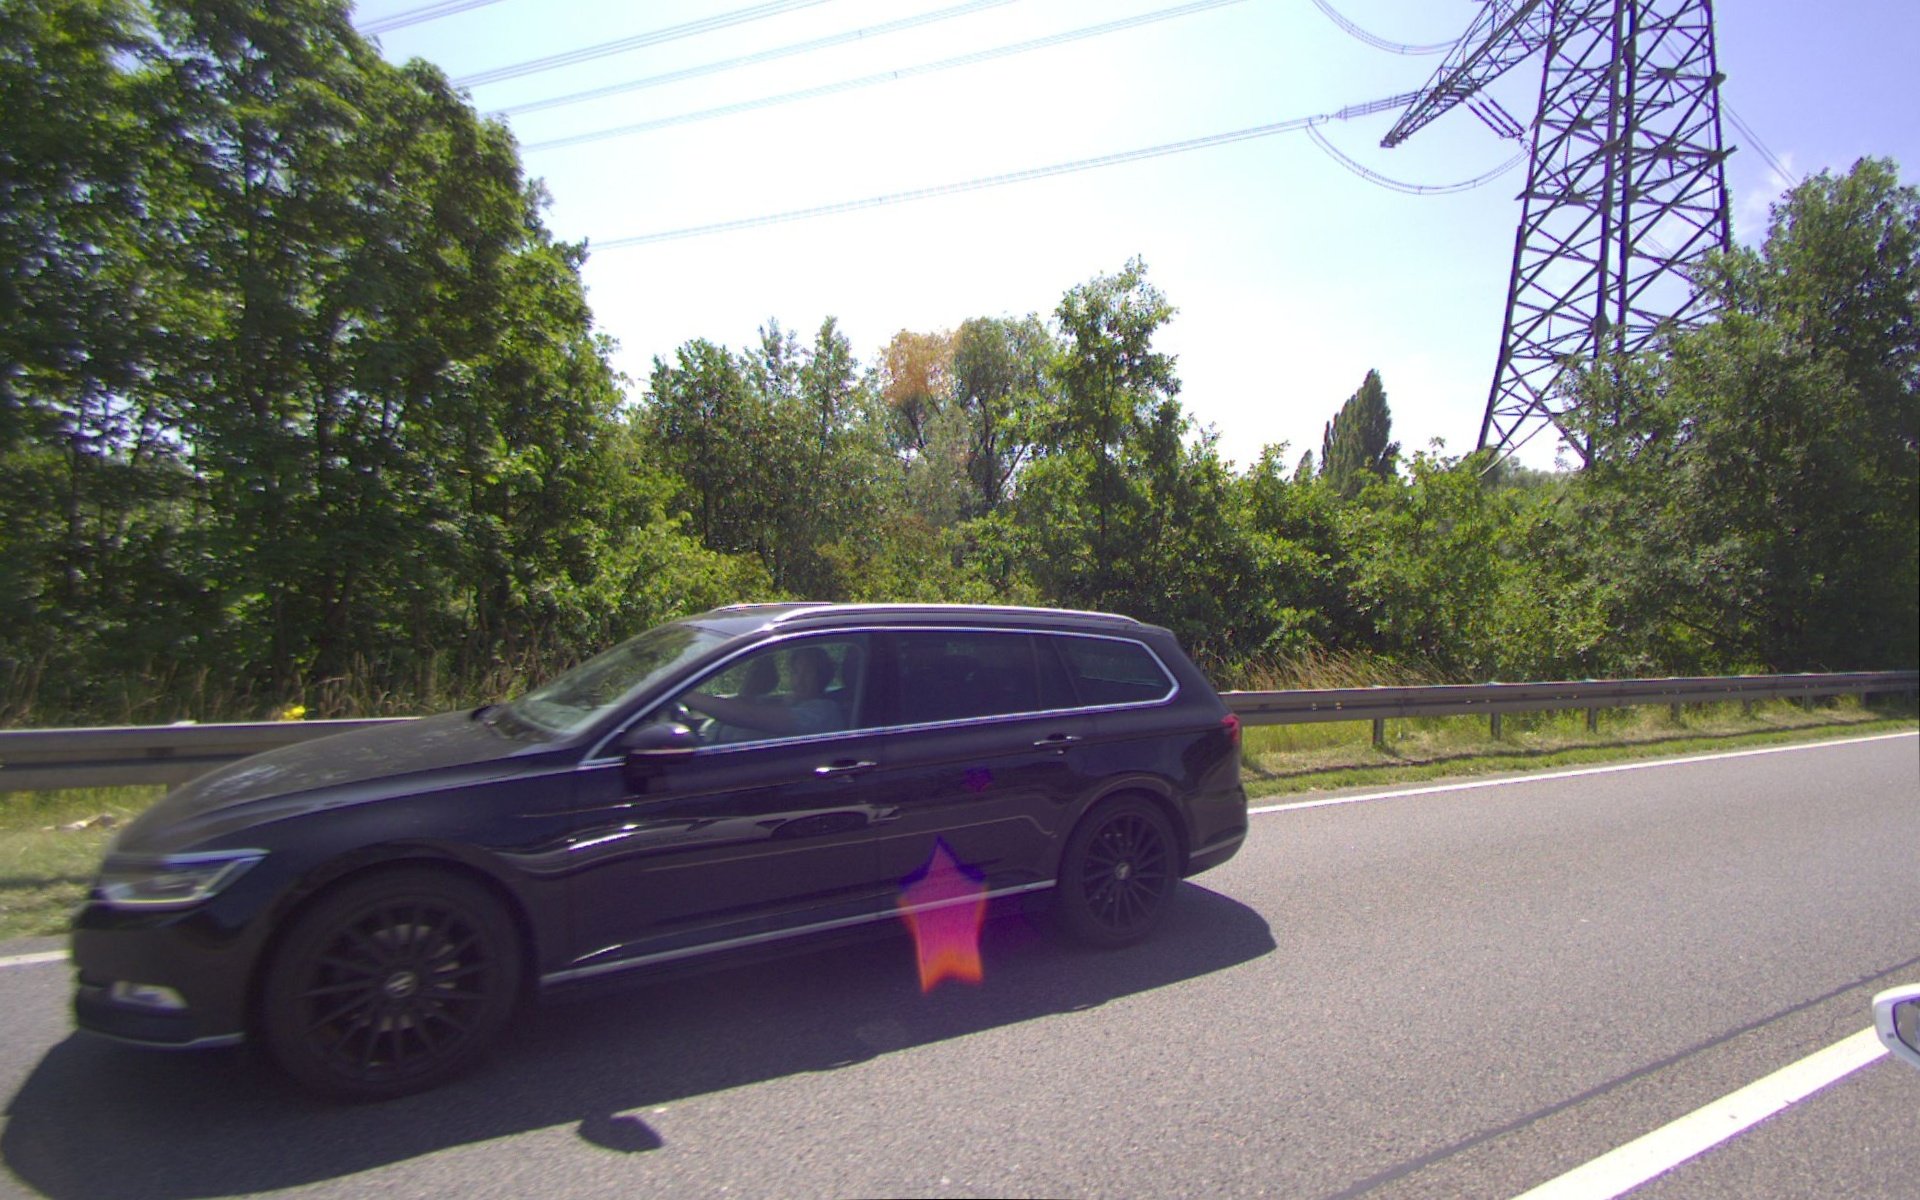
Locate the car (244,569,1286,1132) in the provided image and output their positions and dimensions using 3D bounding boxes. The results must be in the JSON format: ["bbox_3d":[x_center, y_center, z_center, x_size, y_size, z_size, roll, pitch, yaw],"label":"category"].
[{"bbox_3d":[-0.648,0.710,4.499,3.952,1.517,1.836,1,0,-30],"label":"car"}]
